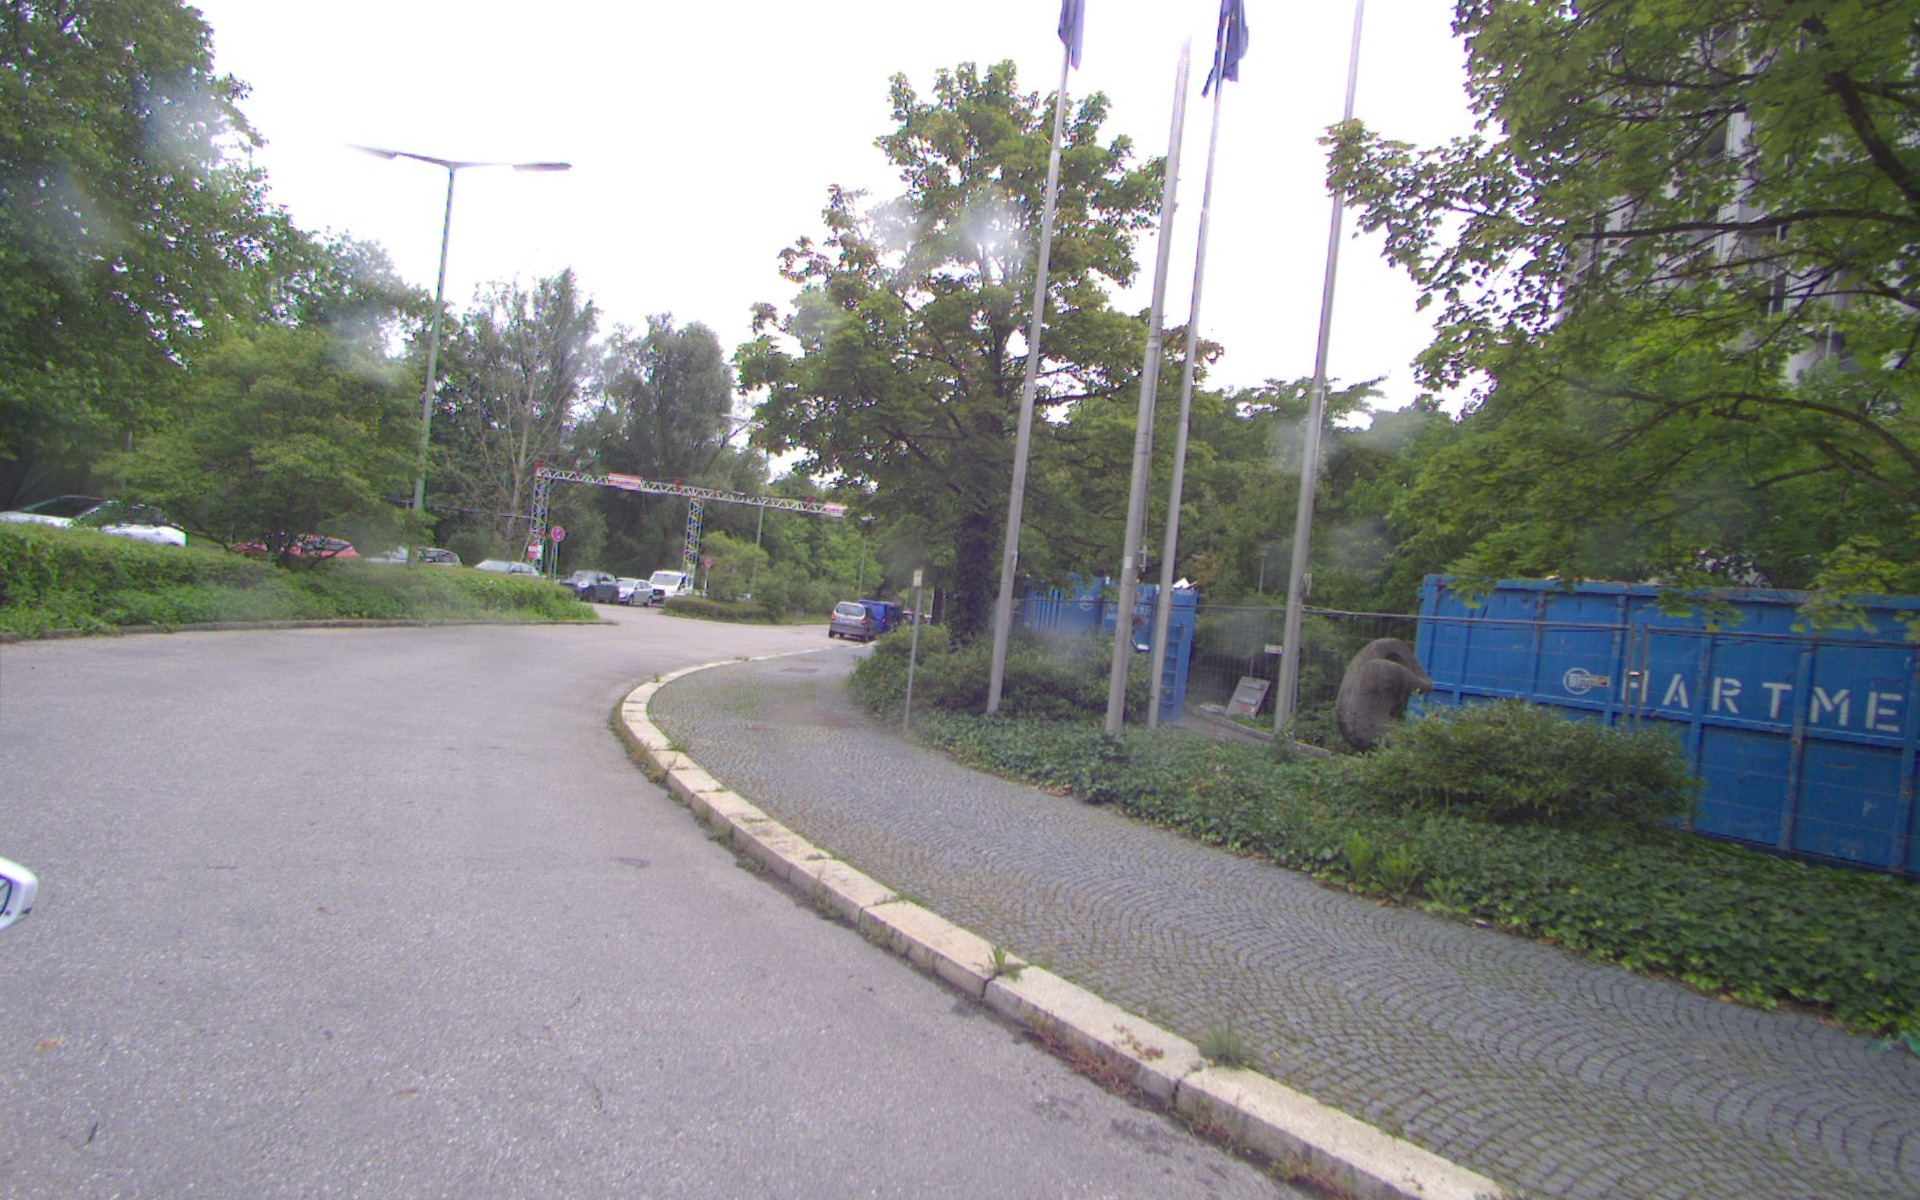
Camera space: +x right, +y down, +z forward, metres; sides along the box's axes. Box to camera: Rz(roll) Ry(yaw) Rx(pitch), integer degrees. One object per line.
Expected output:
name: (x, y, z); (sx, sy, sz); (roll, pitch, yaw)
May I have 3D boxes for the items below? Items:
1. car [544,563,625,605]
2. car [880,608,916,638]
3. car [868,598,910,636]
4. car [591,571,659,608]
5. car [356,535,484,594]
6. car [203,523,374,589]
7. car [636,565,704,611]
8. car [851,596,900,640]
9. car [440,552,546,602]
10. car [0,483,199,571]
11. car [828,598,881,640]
car: (-18.025, -0.733, 48.531); (1.962, 1.593, 4.003); (7, -1, 6)
car: (-3.857, 1.441, 63.042); (1.701, 1.631, 4.001); (7, -1, 2)
car: (-3.997, 1.026, 57.579); (1.701, 1.913, 4.329); (7, -1, 3)
car: (-17.772, -0.503, 53.568); (1.962, 1.593, 4.002); (7, -1, 3)
car: (-18.952, -1.199, 35.532); (1.962, 1.593, 4.003); (7, -1, 6)
car: (-19.562, -1.233, 29.545); (1.962, 1.426, 4.003); (7, -1, 6)
car: (-17.067, -0.648, 59.522); (2.165, 2.254, 4.872); (7, -1, 3)
car: (-4.195, 0.932, 50.739); (1.701, 1.913, 4.329); (7, -1, 3)
car: (-18.733, -0.889, 40.570); (1.962, 1.593, 4.003); (7, -1, 6)
car: (-20.224, -1.667, 23.204); (1.962, 1.526, 4.003); (7, -1, 6)
car: (-4.706, 0.875, 45.339); (1.701, 1.631, 4.001); (7, -1, 2)
